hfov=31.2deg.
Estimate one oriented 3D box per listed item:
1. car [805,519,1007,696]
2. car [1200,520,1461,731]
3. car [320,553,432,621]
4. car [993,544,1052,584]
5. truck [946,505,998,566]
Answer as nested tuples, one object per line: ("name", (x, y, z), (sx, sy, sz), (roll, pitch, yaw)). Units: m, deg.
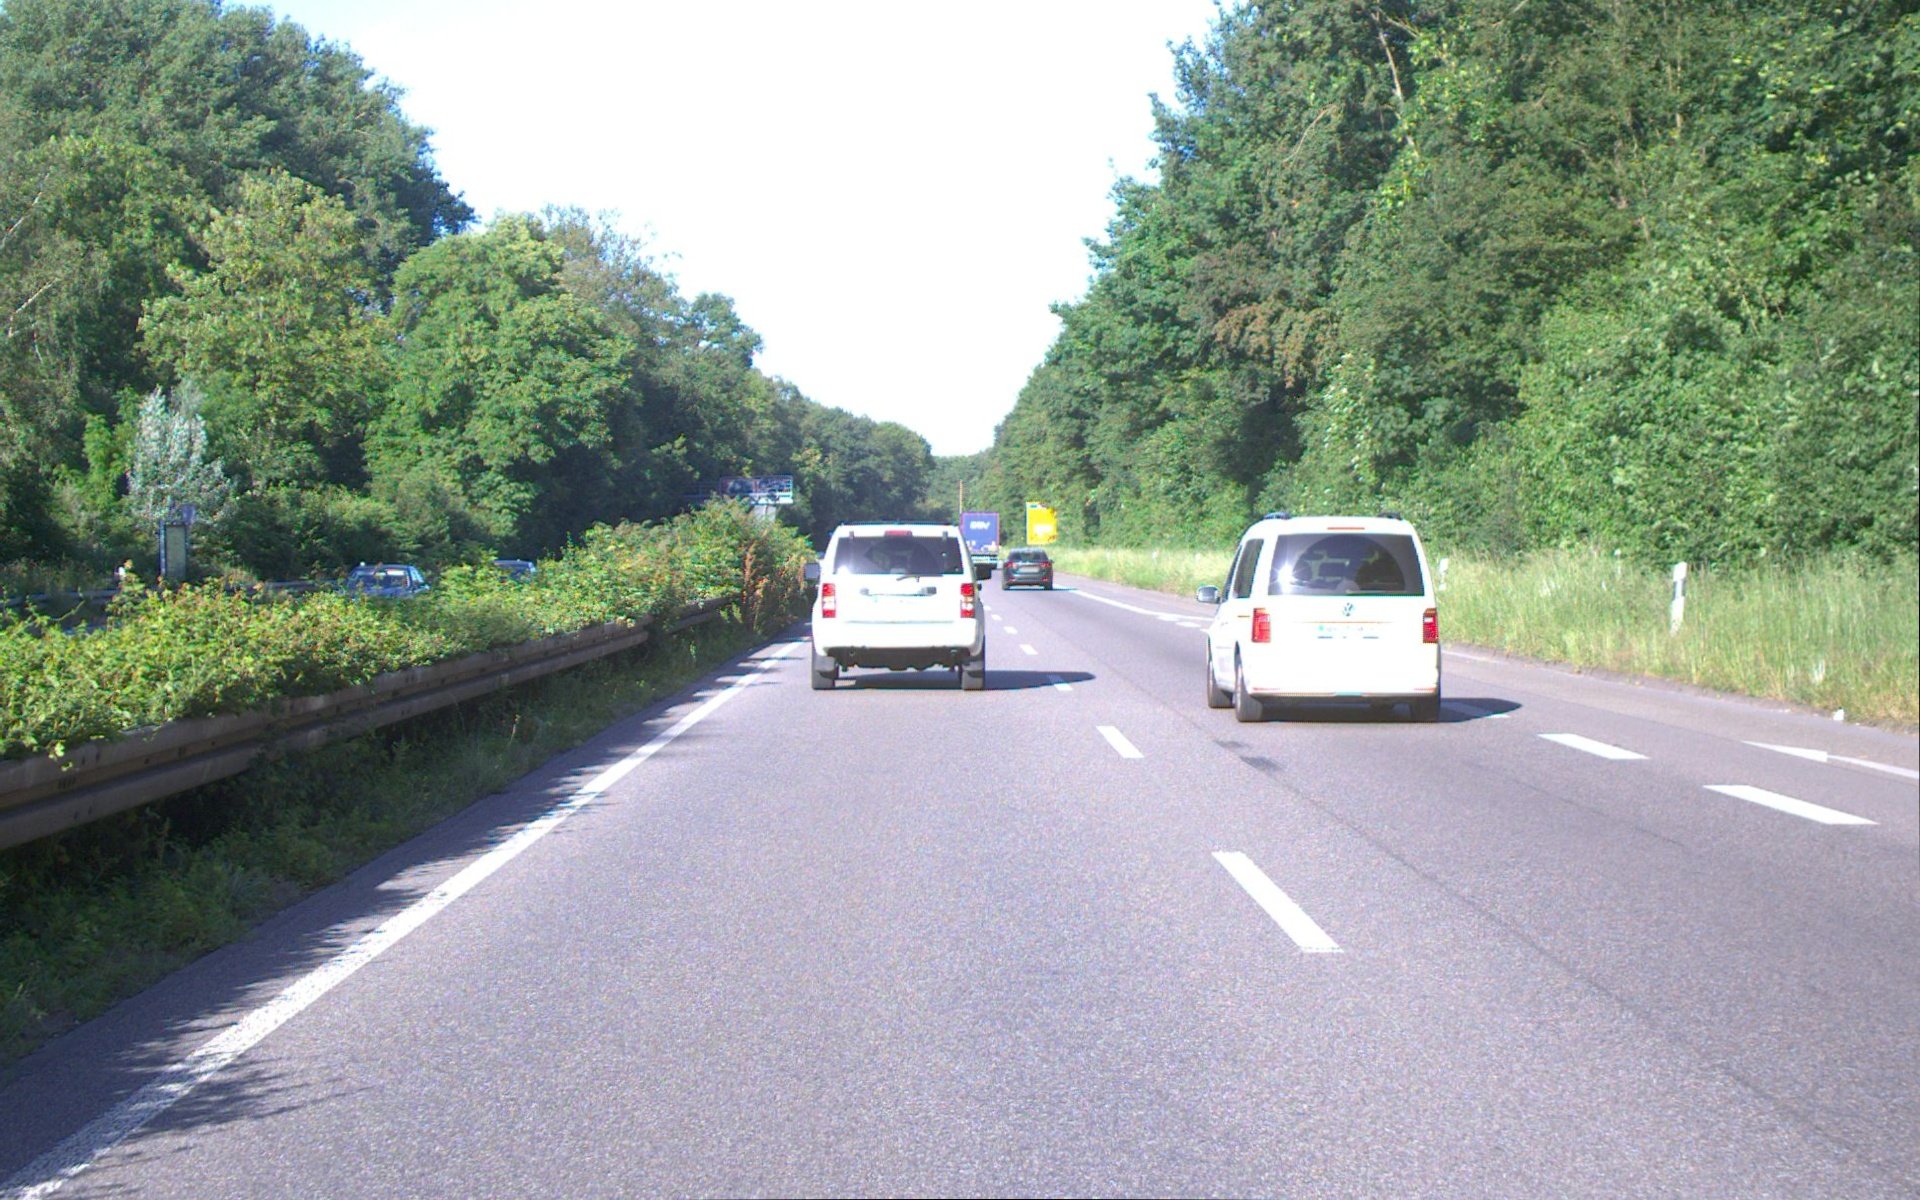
("car", (-0.638, 0.043, 37.454), (2.085, 1.822, 4.001), (0, 1, -2))
("car", (3.271, 0.172, 31.131), (1.863, 1.764, 4.470), (0, 1, 0))
("car", (-13.121, -0.309, 77.477), (1.960, 1.445, 4.507), (0, 1, -3))
("car", (2.222, -1.310, 123.888), (1.993, 1.393, 4.000), (-1, 1, -1))
("truck", (0.829, -4.502, 242.145), (3.496, 4.158, 8.862), (-1, 1, -1))
